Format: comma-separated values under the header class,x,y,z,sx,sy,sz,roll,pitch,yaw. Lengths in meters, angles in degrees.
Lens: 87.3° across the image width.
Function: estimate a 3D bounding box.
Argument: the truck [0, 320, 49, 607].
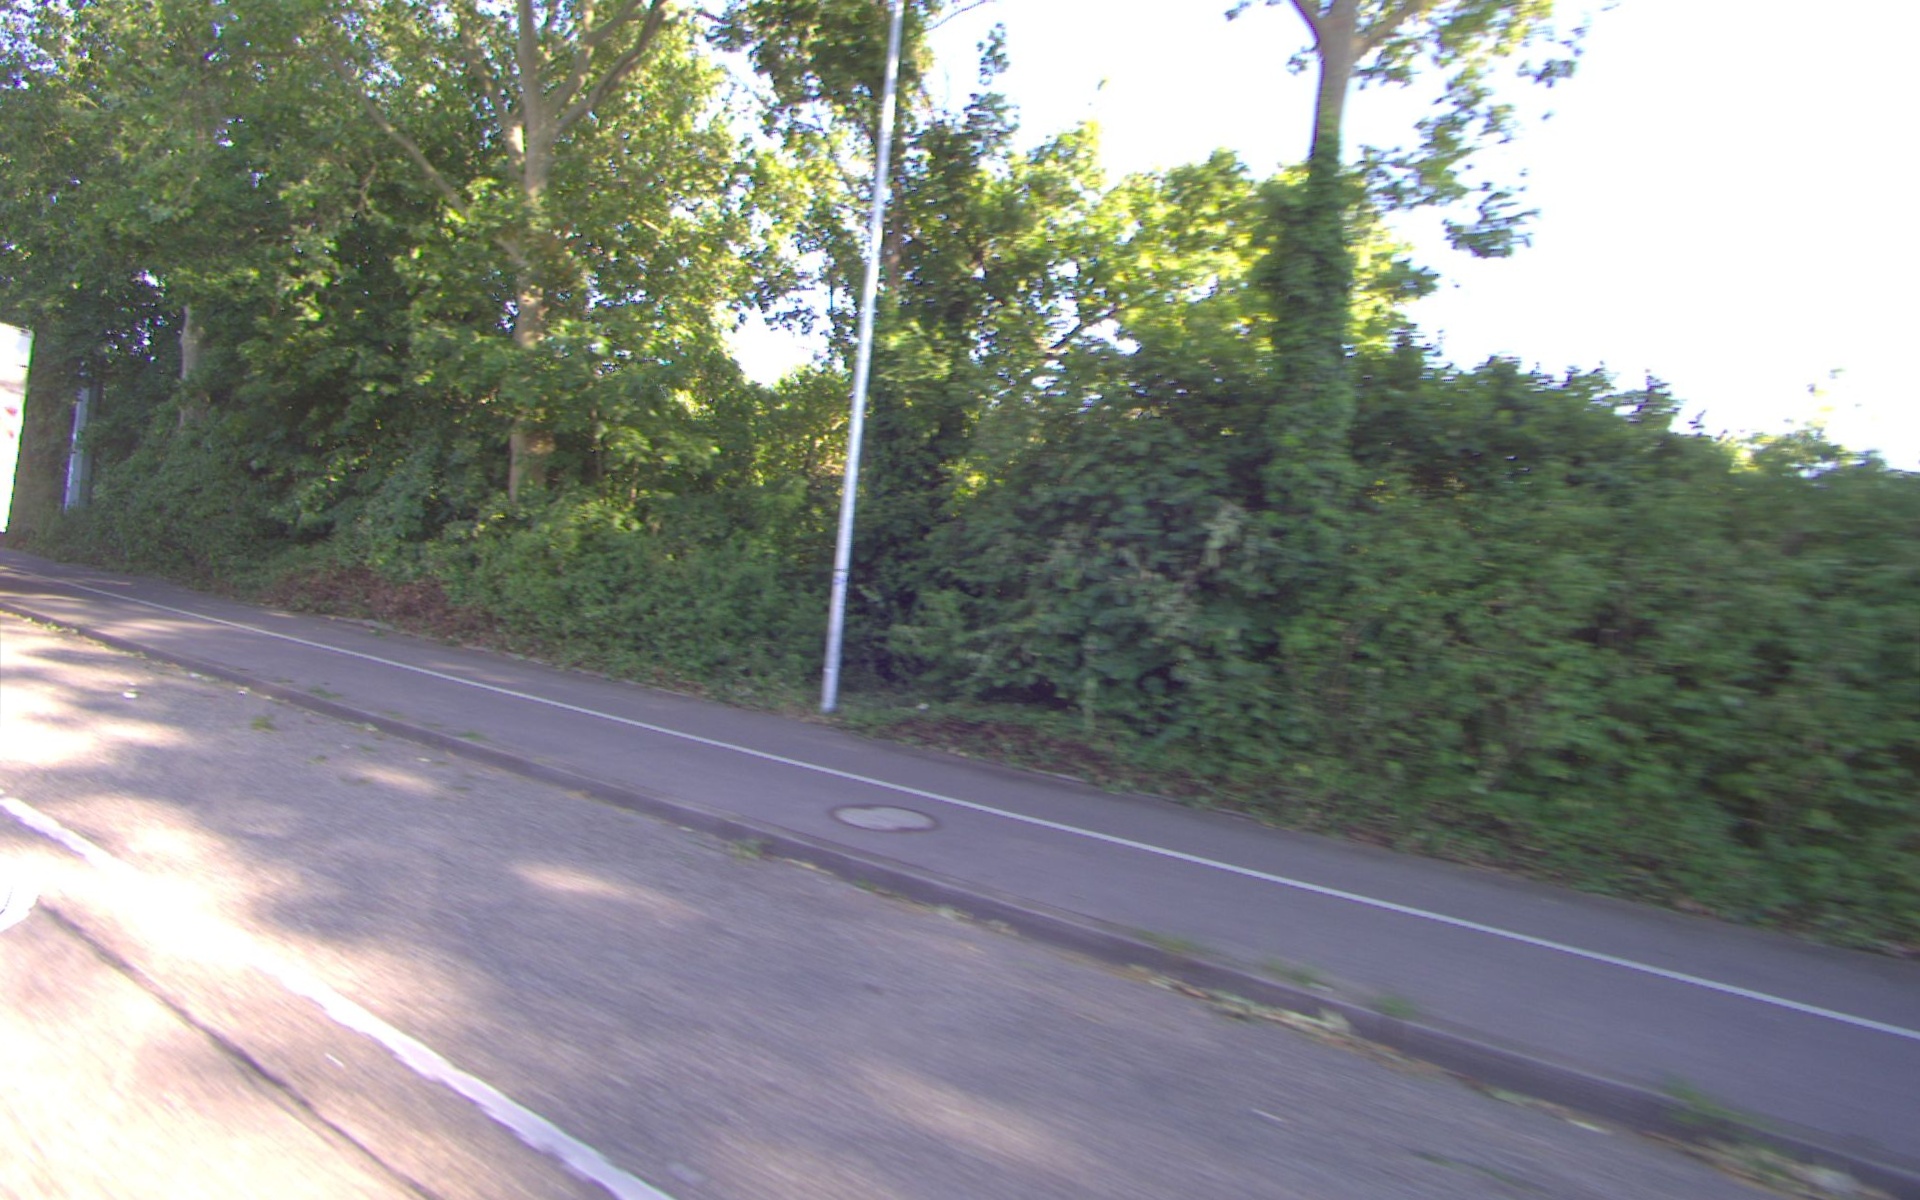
class,x,y,z,sx,sy,sz,roll,pitch,yaw
truck,-17.715,-2.422,15.360,9.923,3.827,2.747,7,-1,32
